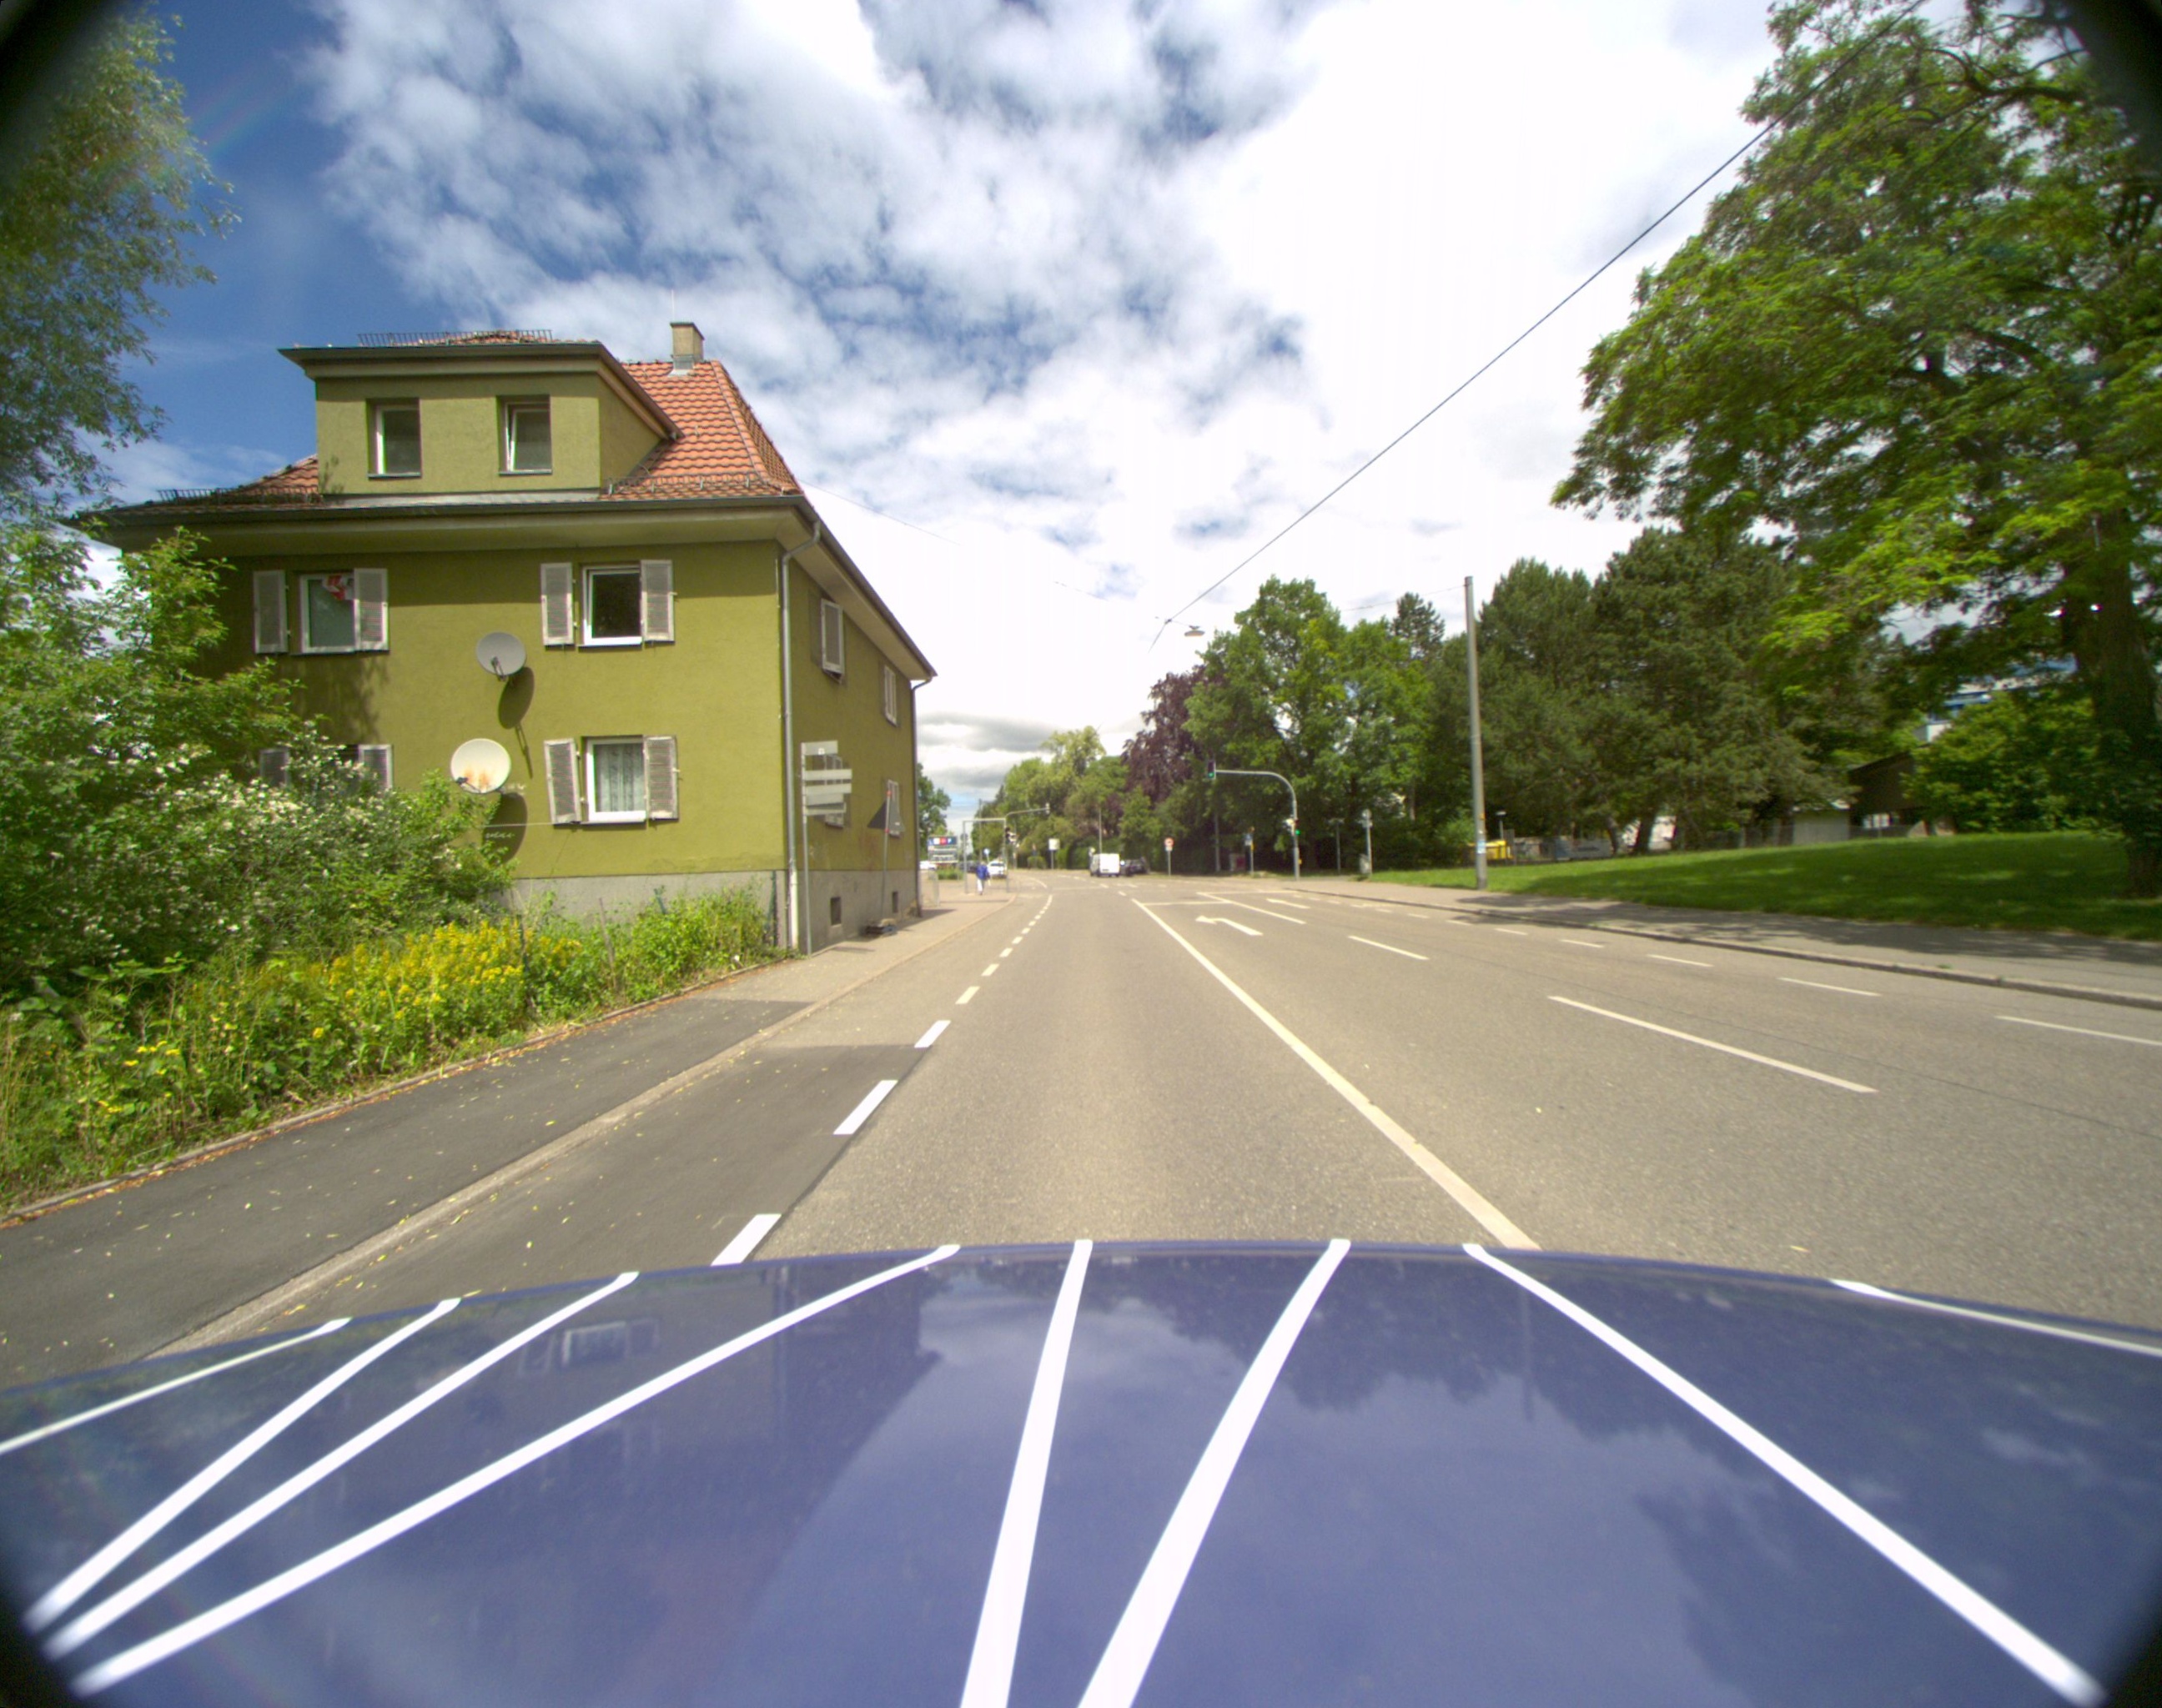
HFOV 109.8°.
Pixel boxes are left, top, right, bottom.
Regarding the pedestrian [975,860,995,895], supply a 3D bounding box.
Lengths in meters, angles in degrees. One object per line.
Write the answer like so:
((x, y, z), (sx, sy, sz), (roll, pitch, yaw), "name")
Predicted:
((-4.481, 1.082, 35.563), (0.826, 1.563, 0.987), (-1, 1, -4), "pedestrian")

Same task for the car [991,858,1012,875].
((-7.238, 1.126, 68.970), (1.796, 1.522, 3.918), (0, 0, -9), "car")

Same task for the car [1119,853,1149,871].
((4.718, 0.684, 67.864), (1.688, 1.407, 4.398), (-3, 1, -9), "car")

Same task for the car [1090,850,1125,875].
((2.219, 0.709, 65.641), (2.000, 2.011, 5.346), (-1, 0, -10), "car")

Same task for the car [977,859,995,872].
((-12.233, 1.406, 97.191), (1.707, 1.522, 3.995), (-3, 0, -15), "car")
